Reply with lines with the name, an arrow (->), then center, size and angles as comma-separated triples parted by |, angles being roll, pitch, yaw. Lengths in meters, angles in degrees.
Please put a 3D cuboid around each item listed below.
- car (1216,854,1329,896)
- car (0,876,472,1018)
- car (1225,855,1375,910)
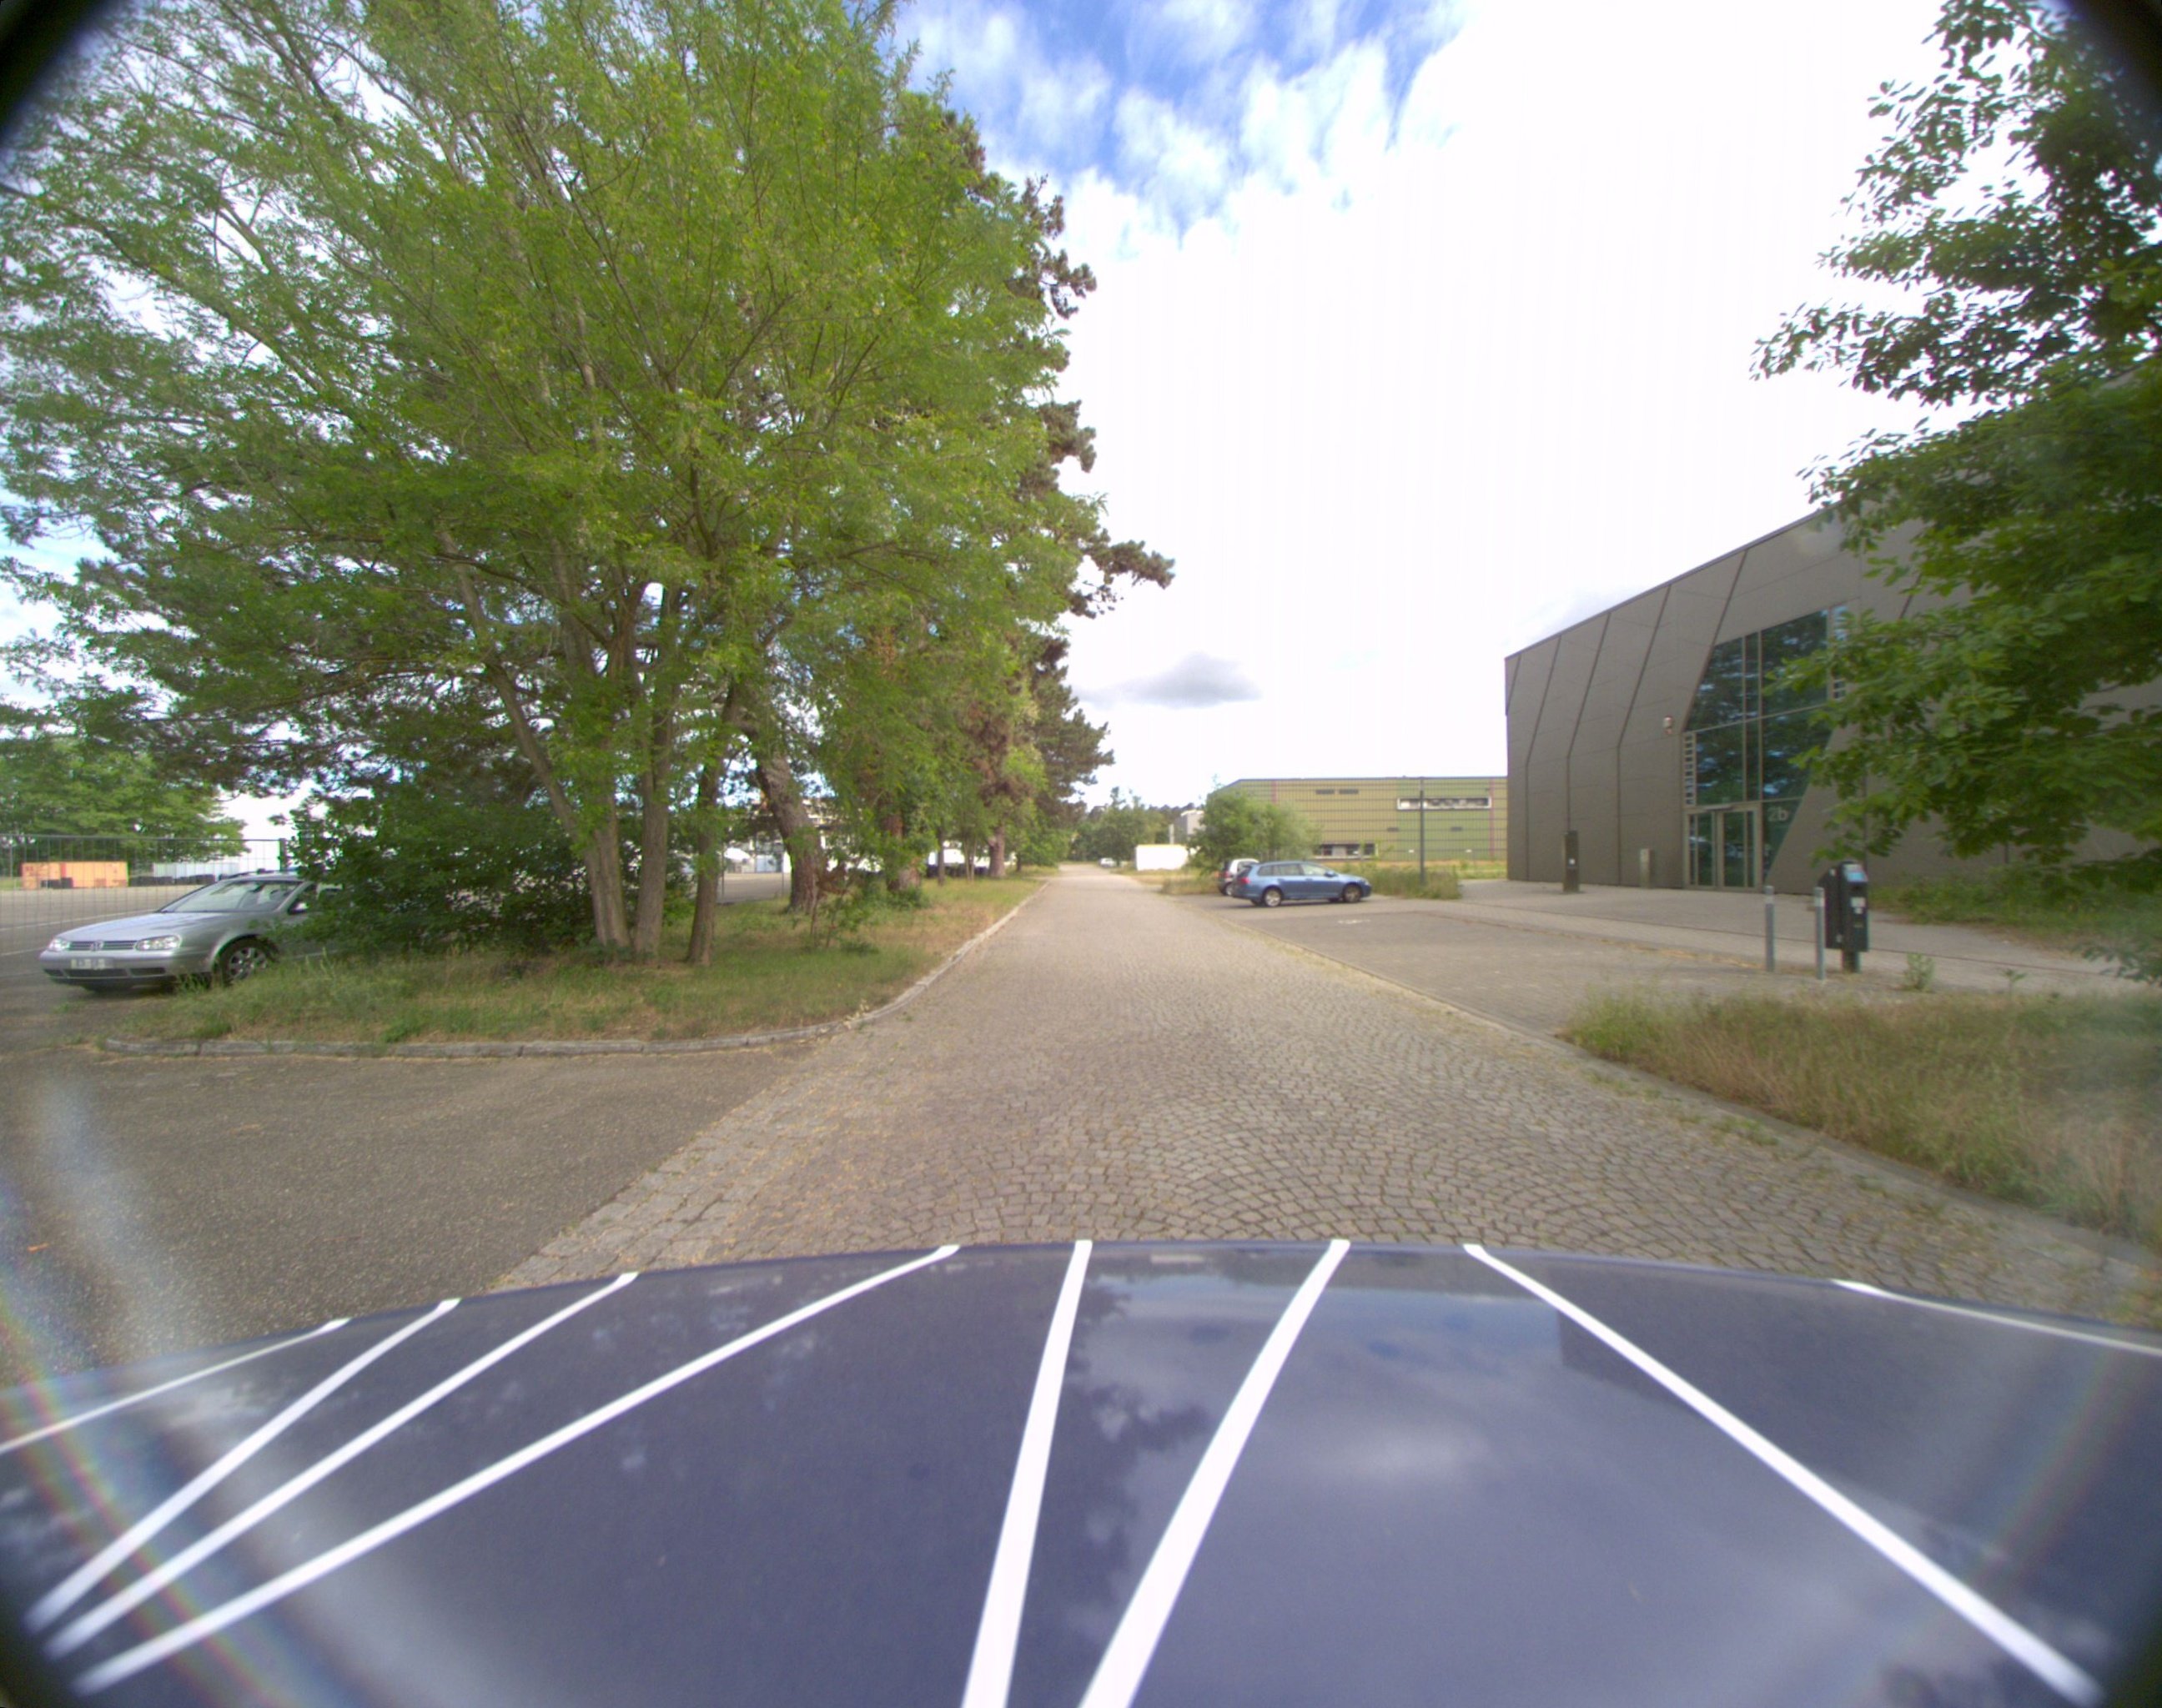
car -> 8.133, 0.871, 32.617 | 4.401, 1.537, 1.842 | -3, 0, 6
car -> -11.164, 1.100, 10.620 | 1.759, 1.440, 4.327 | -1, 0, 1
car -> 7.199, 0.917, 25.246 | 4.404, 1.501, 1.716 | -3, 0, -3
